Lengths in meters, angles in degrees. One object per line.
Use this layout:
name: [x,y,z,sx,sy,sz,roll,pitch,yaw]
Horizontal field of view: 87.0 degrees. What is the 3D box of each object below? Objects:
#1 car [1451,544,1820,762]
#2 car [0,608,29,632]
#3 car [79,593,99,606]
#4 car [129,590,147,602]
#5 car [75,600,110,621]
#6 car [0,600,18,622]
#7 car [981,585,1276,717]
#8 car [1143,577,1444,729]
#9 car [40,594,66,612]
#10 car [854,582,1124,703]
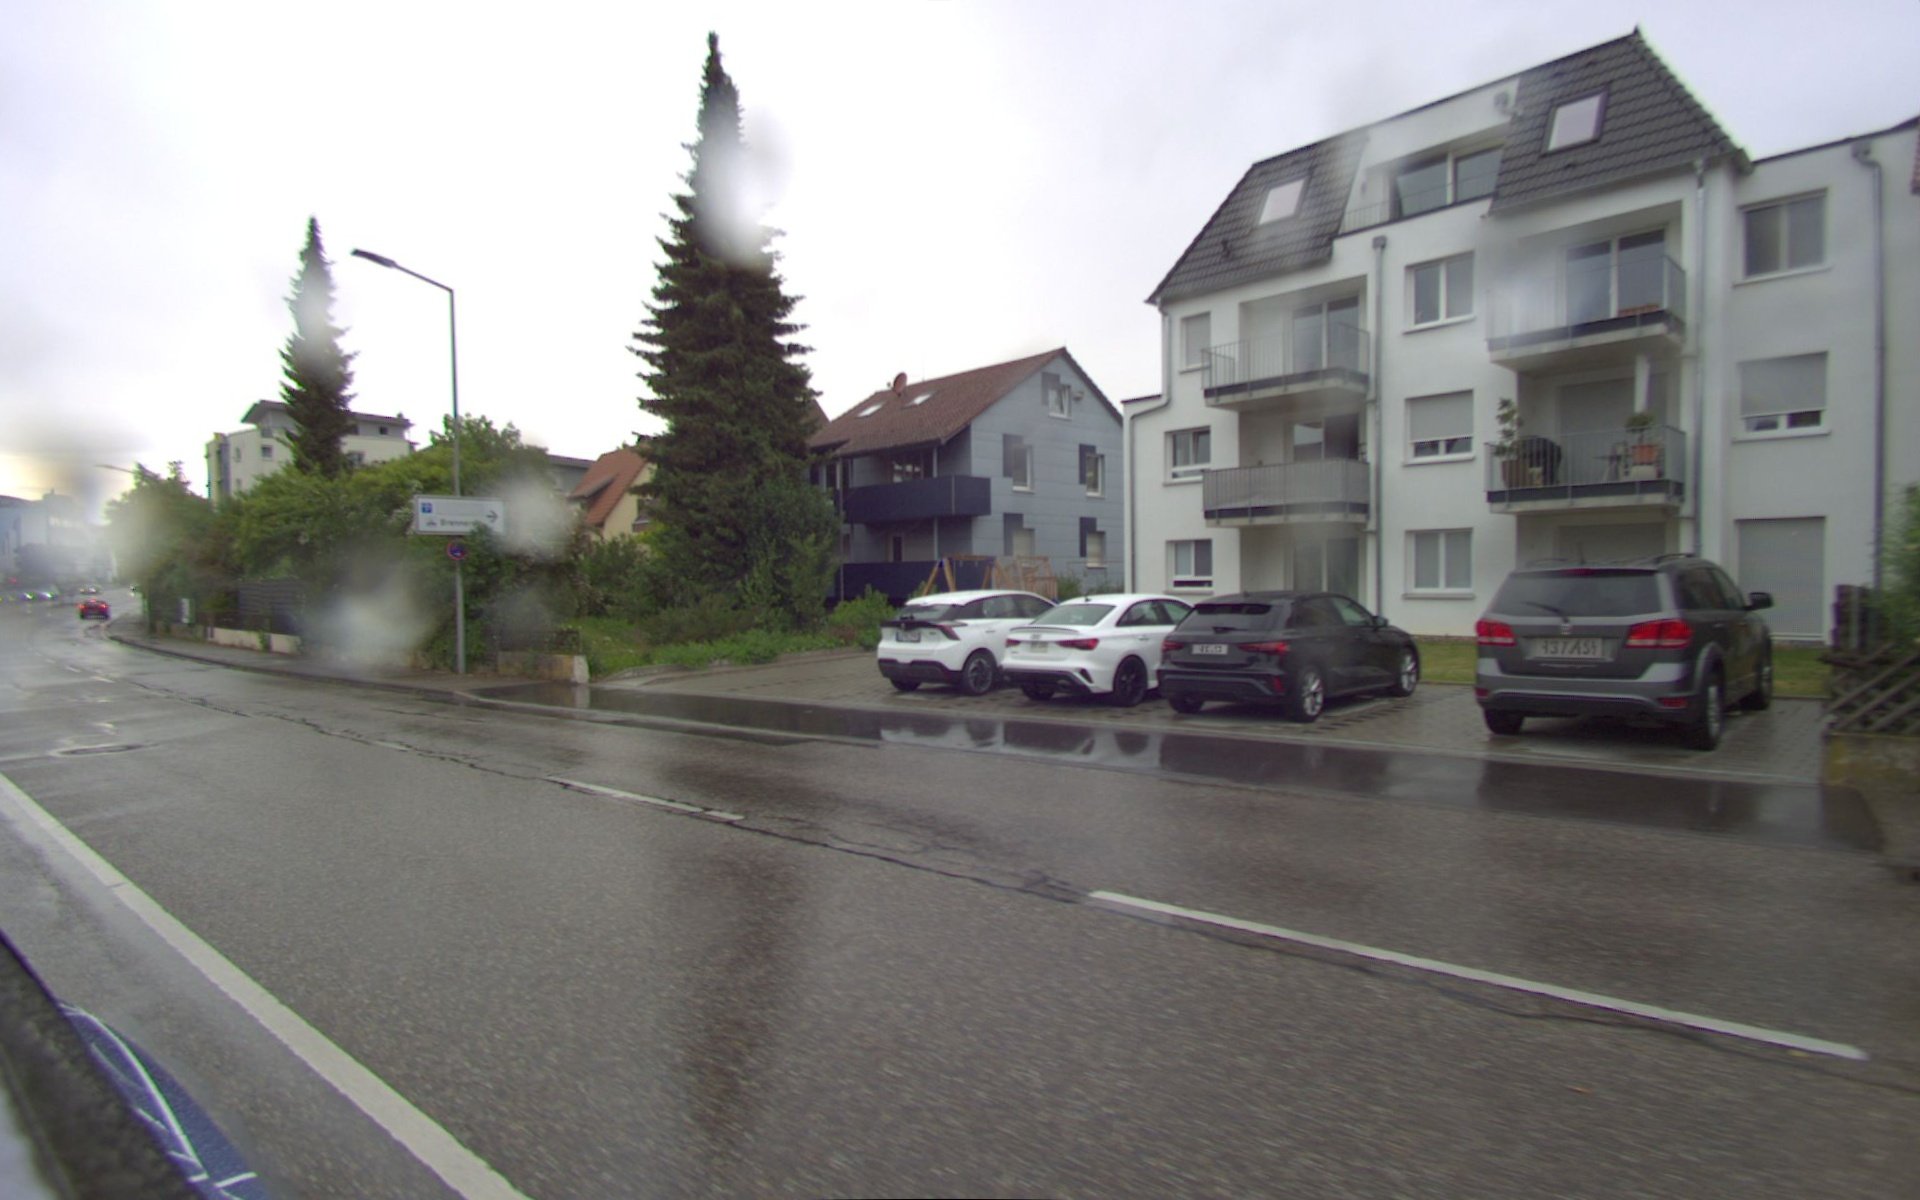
car: [6.822,0.344,10.024,4.404,1.673,2.002,-3,1,-42]
car: [-76.285,1.580,81.467,1.826,1.895,4.124,-1,0,-45]
car: [-124.729,-0.017,144.990,1.823,1.777,4.131,-1,0,-35]
car: [-126.869,-0.612,156.252,1.823,1.777,4.131,-1,0,-35]
car: [-70.985,0.863,82.838,1.968,1.627,4.008,-1,0,-38]
car: [-81.746,0.956,86.429,1.826,1.777,4.124,-1,0,-44]
car: [2.452,0.599,14.124,4.097,1.453,1.892,-3,1,-42]
car: [4.171,0.525,12.317,3.979,1.453,1.814,-3,1,-44]
car: [-95.407,0.343,106.482,1.824,1.777,4.129,-1,0,-39]
car: [0.554,0.580,16.143,4.058,1.557,2.002,-3,1,-44]
